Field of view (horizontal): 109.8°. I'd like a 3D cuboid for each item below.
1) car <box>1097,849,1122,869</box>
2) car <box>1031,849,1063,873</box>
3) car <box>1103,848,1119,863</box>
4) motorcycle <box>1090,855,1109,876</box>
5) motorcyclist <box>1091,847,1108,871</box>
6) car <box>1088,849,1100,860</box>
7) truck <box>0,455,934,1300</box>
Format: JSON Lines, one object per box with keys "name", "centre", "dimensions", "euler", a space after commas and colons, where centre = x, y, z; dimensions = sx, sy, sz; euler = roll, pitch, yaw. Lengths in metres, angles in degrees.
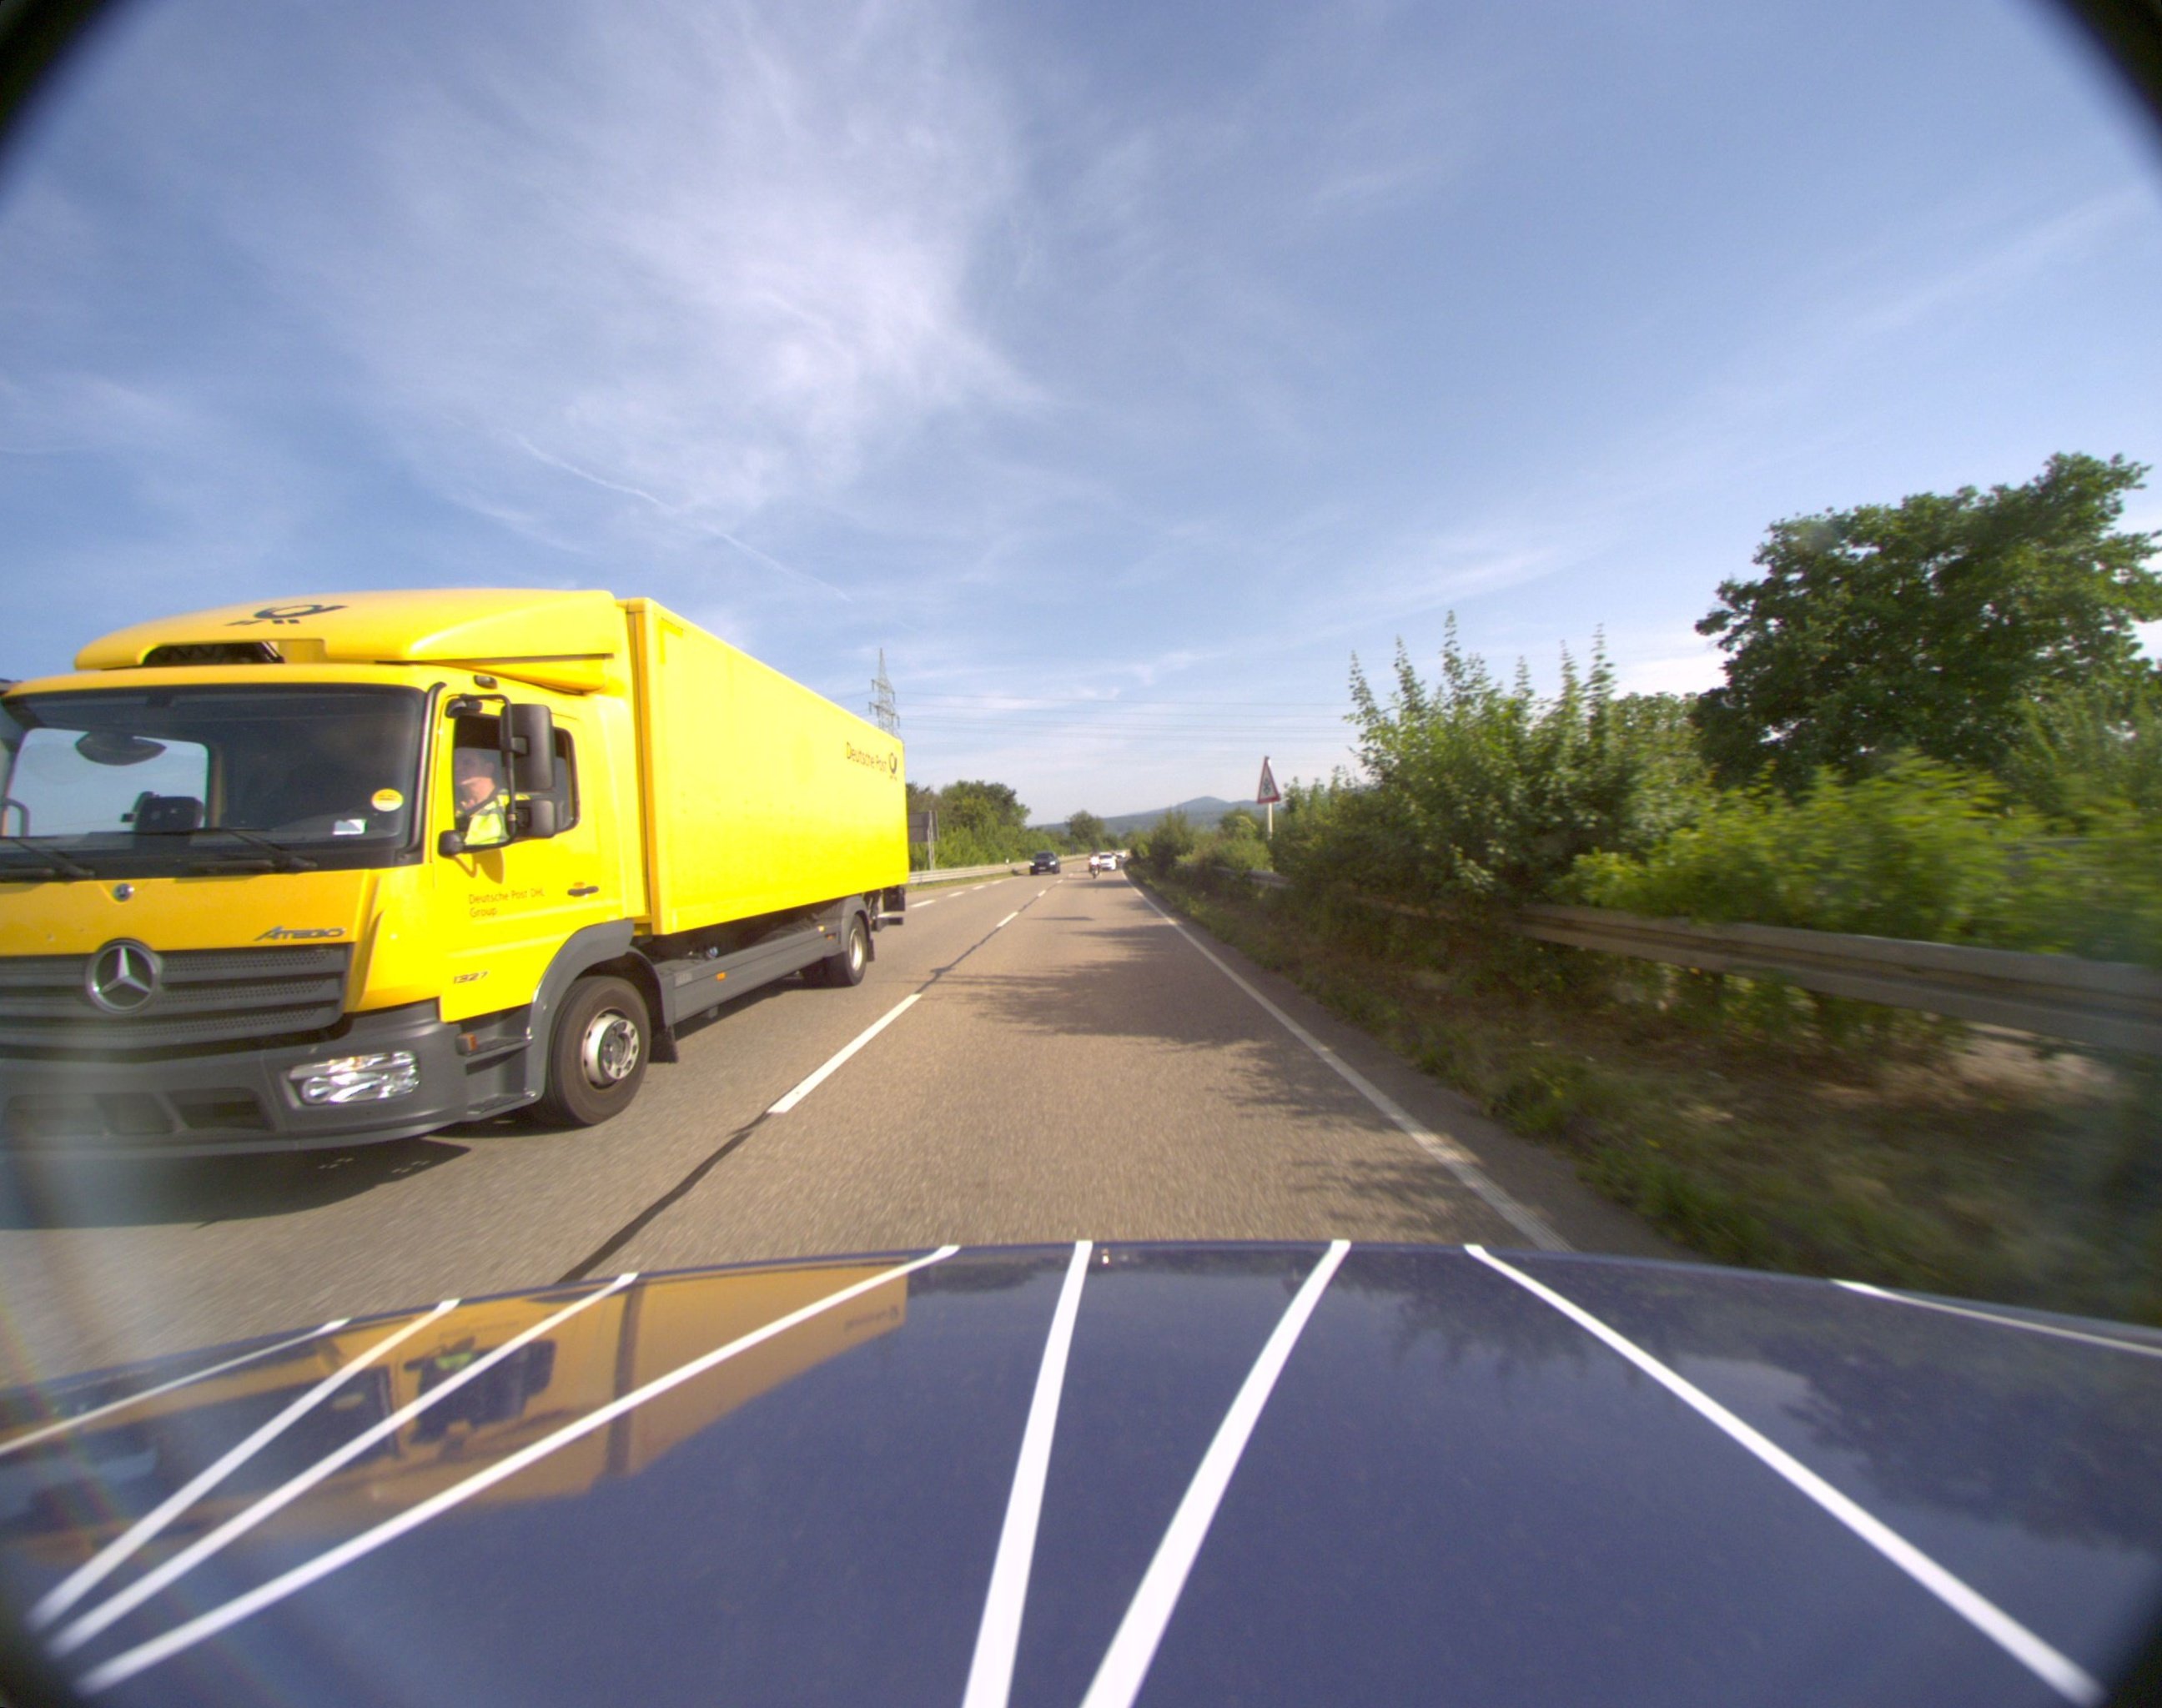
{"name": "car", "centre": [2.308, 0.365, 60.985], "dimensions": [1.869, 1.454, 4.084], "euler": [-2, 1, 3]}
{"name": "car", "centre": [-2.533, 0.513, 57.662], "dimensions": [1.877, 1.630, 4.001], "euler": [-2, 1, 5]}
{"name": "car", "centre": [3.537, 0.146, 89.017], "dimensions": [1.676, 1.541, 3.827], "euler": [-2, 1, 6]}
{"name": "motorcycle", "centre": [1.087, 0.656, 44.699], "dimensions": [0.937, 1.132, 2.582], "euler": [-2, 1, 4]}
{"name": "motorcyclist", "centre": [1.095, 0.294, 44.706], "dimensions": [0.937, 1.344, 1.143], "euler": [-2, 2, 4]}
{"name": "car", "centre": [2.159, 0.059, 126.663], "dimensions": [1.677, 1.541, 3.827], "euler": [-2, 1, 3]}
{"name": "truck", "centre": [-4.107, 0.097, 8.270], "dimensions": [2.786, 3.297, 10.488], "euler": [-3, 0, 0]}
